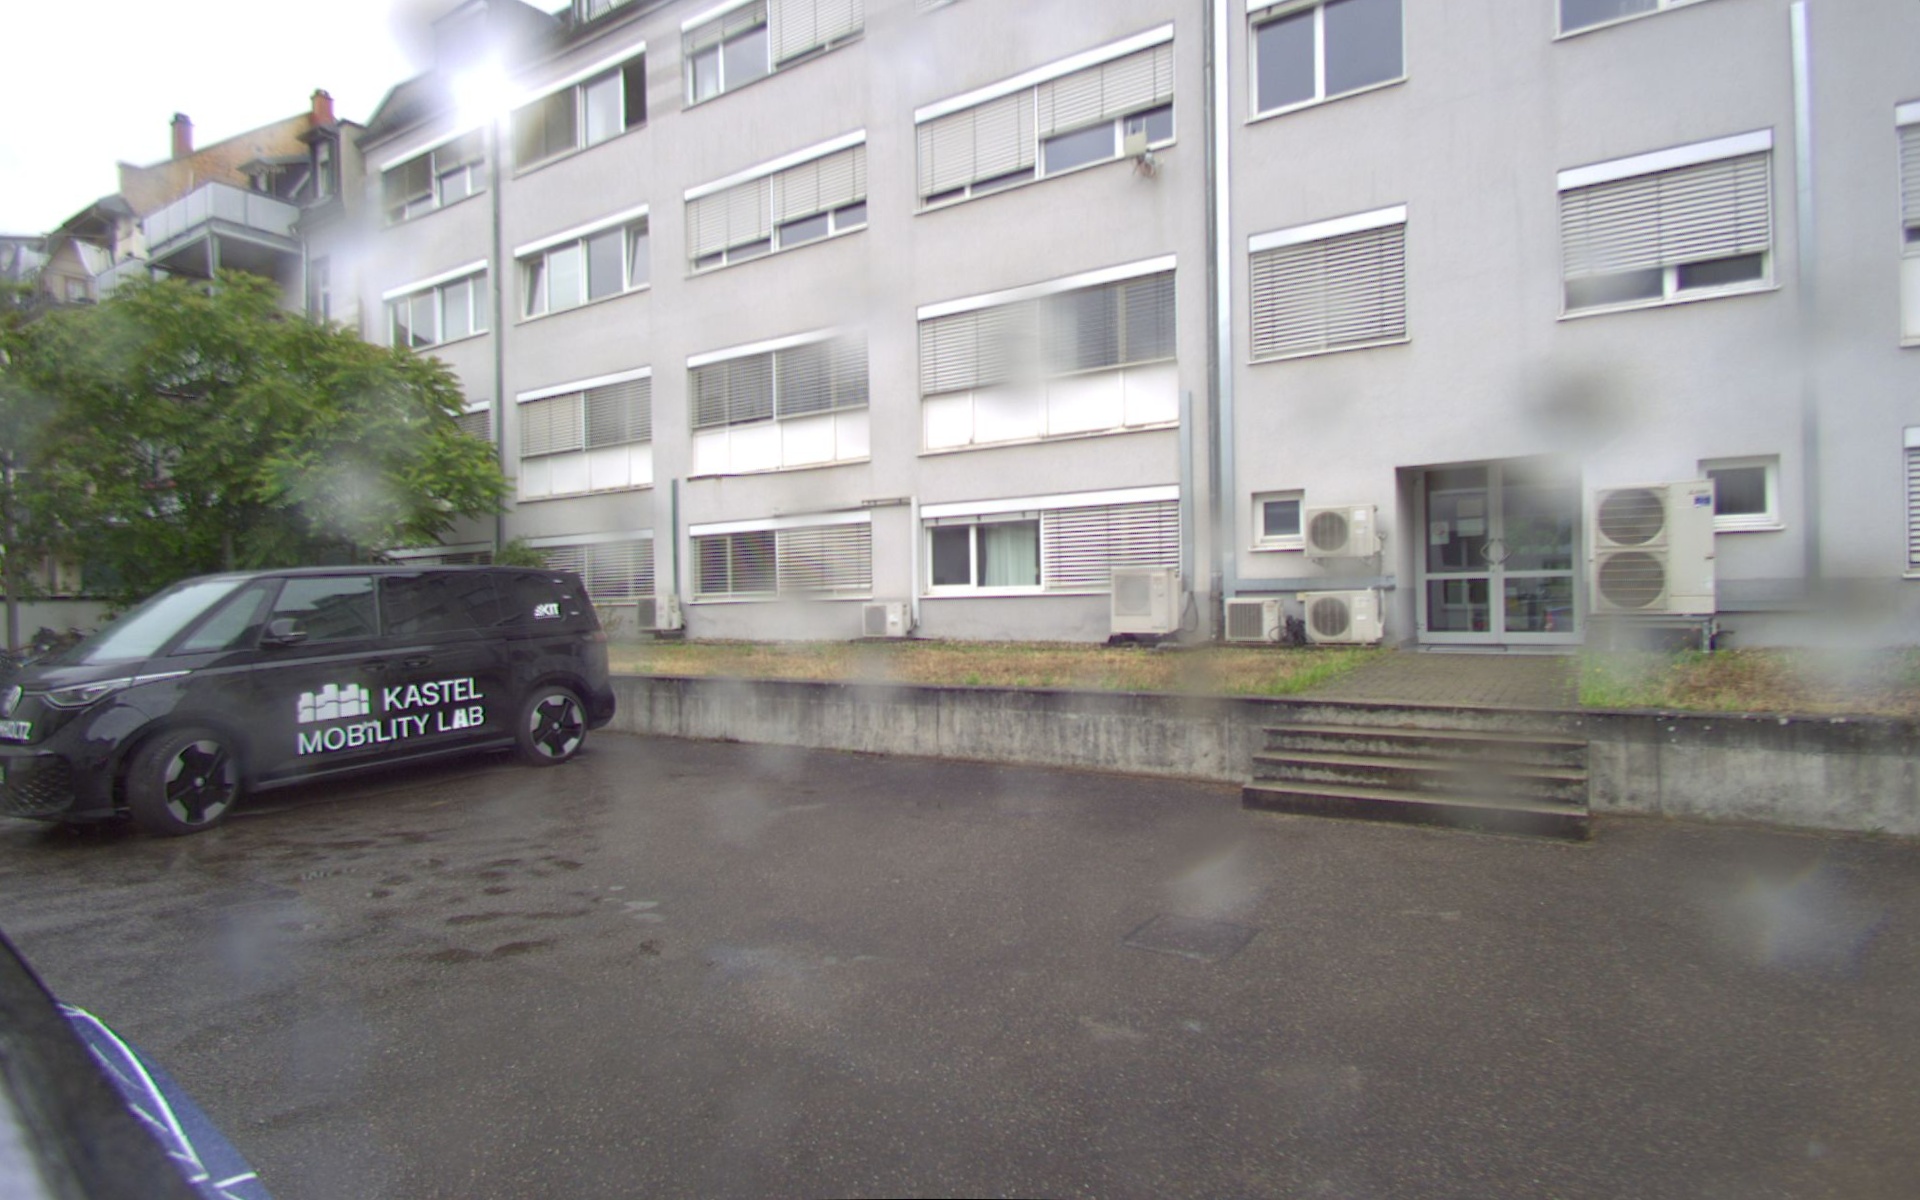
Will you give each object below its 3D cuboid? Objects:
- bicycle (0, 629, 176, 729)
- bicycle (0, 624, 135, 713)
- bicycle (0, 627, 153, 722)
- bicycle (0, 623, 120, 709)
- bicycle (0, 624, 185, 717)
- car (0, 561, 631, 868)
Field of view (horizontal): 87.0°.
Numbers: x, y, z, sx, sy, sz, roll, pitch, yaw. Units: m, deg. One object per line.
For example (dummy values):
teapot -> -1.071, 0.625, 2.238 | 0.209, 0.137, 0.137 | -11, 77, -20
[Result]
bicycle -> -12.083, 1.038, 13.655 | 0.643, 1.195, 2.291 | 1, 2, 39
bicycle -> -13.639, 0.998, 14.854 | 0.643, 1.195, 2.291 | 1, 2, 39
bicycle -> -12.752, 1.022, 14.093 | 0.643, 1.195, 2.291 | 1, 2, 39
bicycle -> -14.161, 0.986, 15.212 | 0.643, 1.195, 2.291 | 1, 2, 39
bicycle -> -12.932, 1.002, 14.939 | 0.643, 1.195, 2.291 | 1, 2, 39
car -> -5.305, 0.695, 8.583 | 1.981, 1.850, 4.583 | -3, -1, 31
